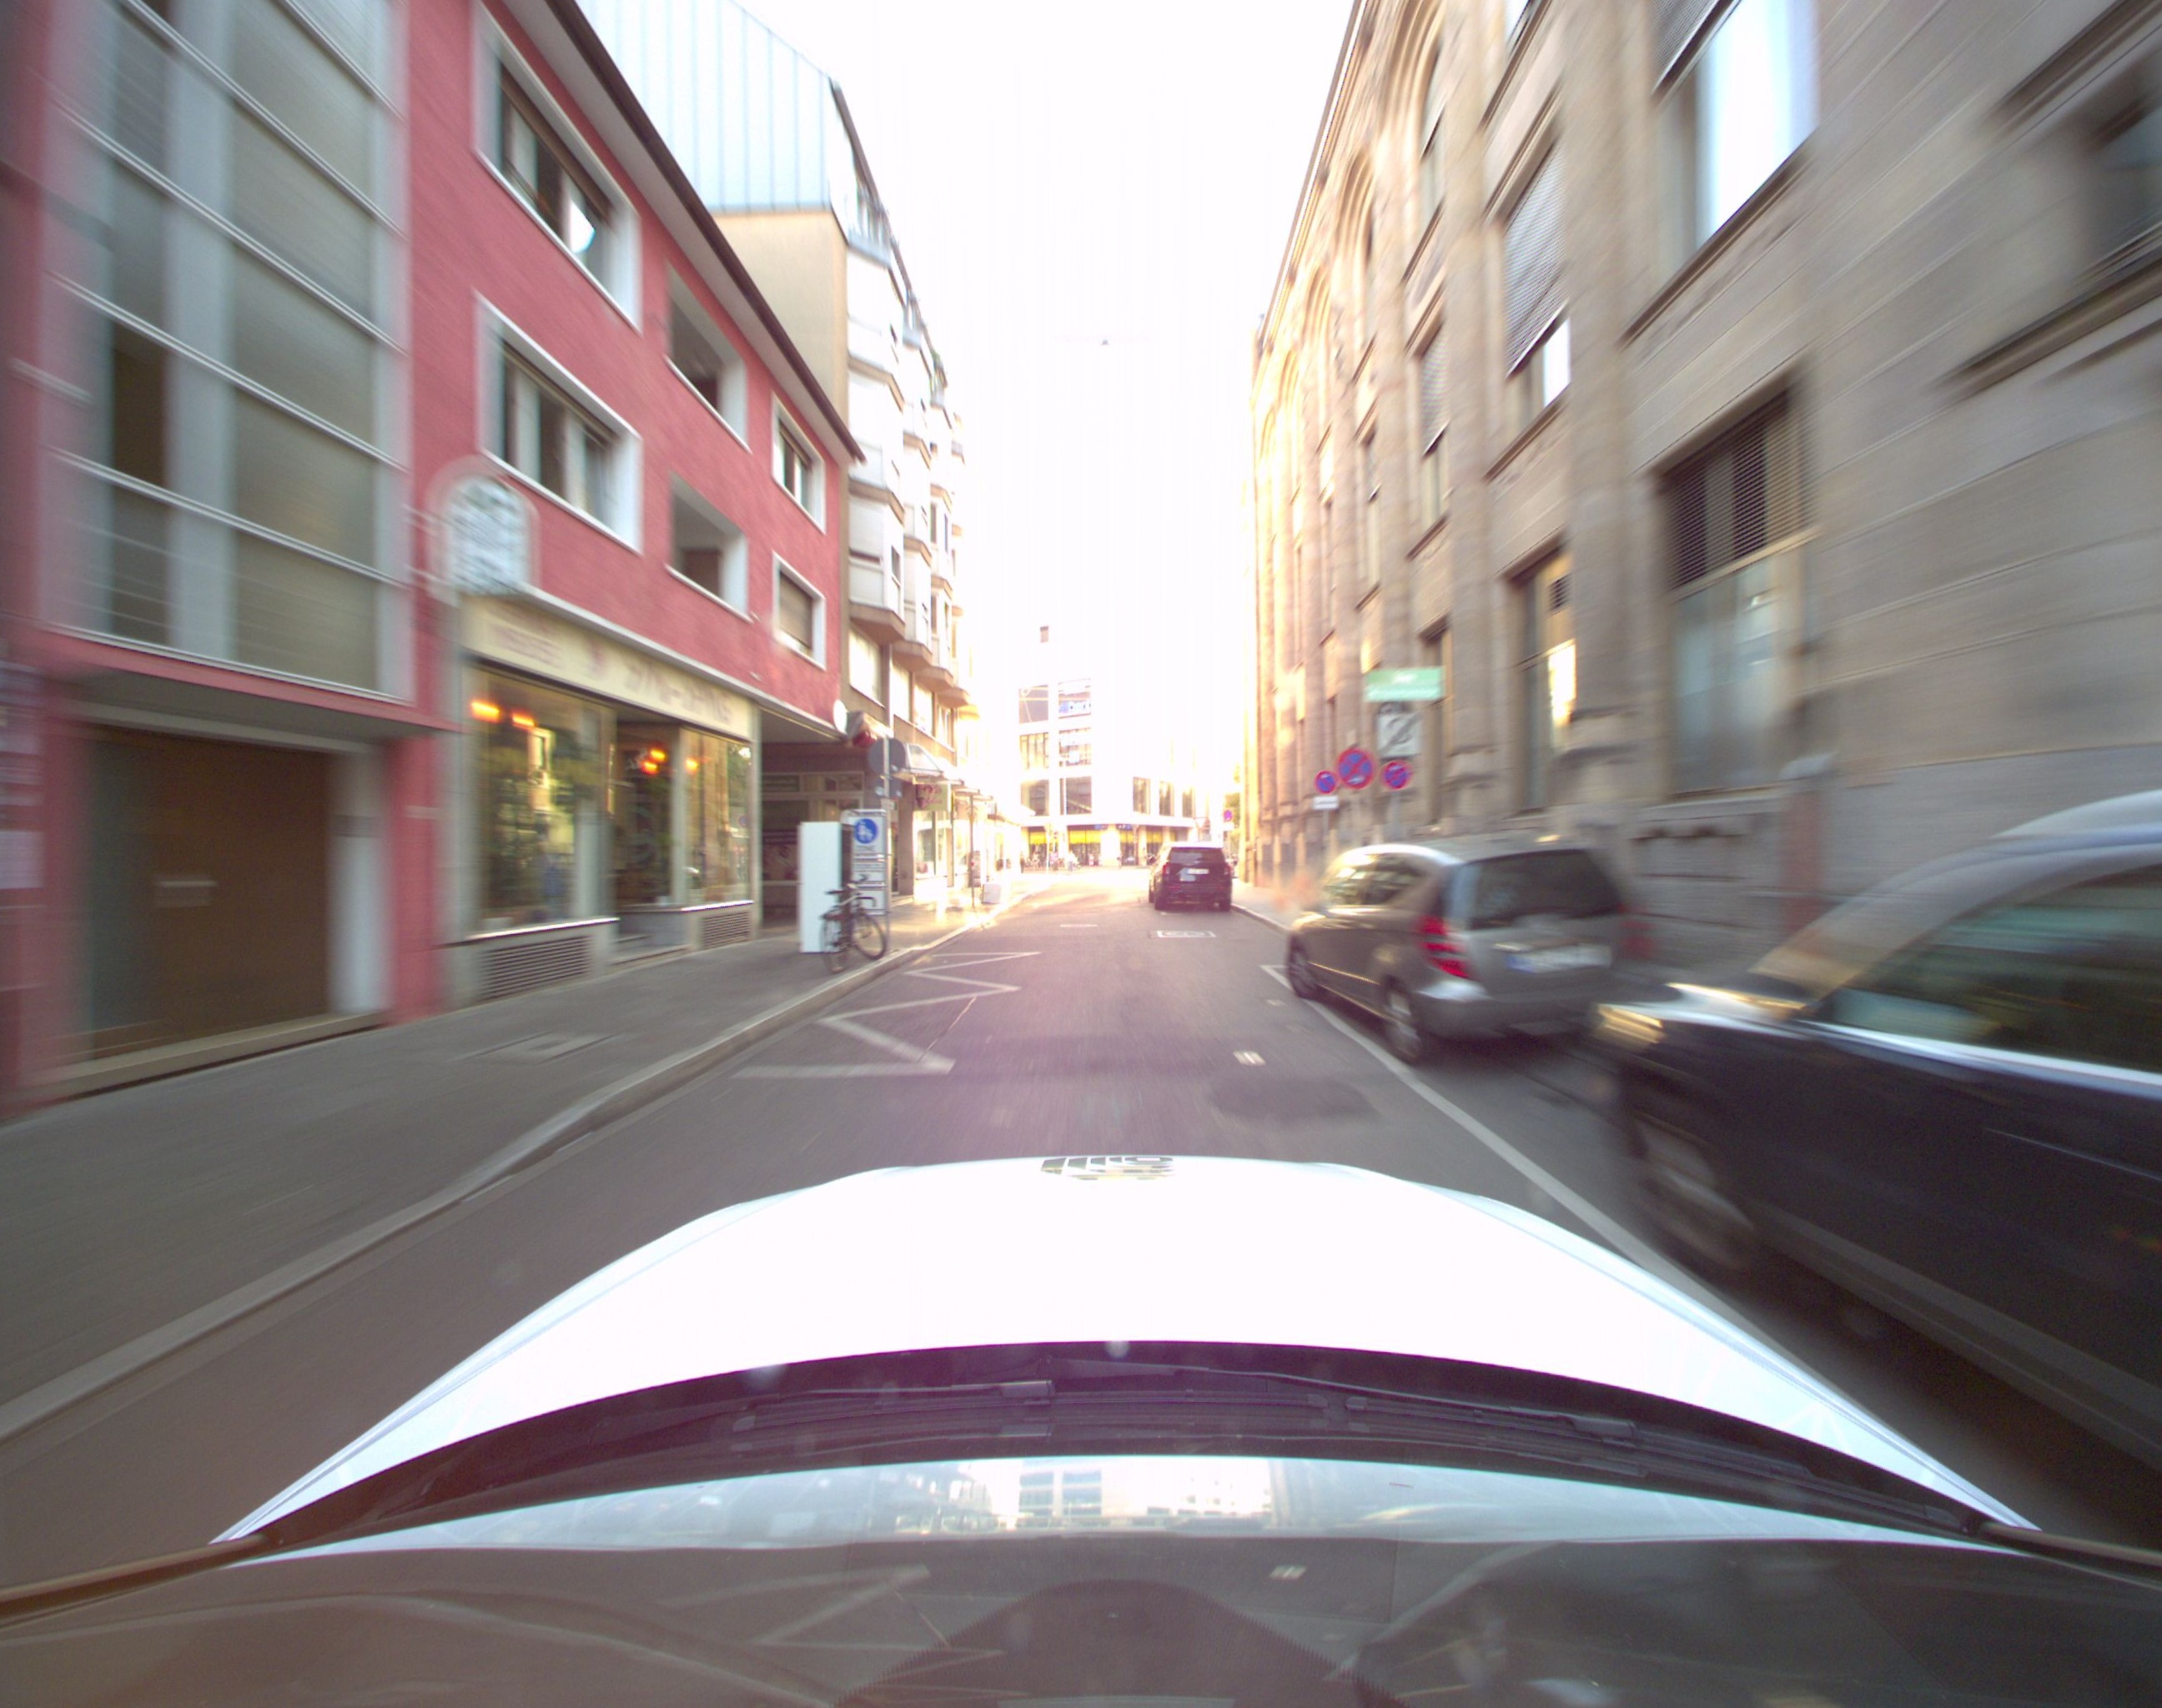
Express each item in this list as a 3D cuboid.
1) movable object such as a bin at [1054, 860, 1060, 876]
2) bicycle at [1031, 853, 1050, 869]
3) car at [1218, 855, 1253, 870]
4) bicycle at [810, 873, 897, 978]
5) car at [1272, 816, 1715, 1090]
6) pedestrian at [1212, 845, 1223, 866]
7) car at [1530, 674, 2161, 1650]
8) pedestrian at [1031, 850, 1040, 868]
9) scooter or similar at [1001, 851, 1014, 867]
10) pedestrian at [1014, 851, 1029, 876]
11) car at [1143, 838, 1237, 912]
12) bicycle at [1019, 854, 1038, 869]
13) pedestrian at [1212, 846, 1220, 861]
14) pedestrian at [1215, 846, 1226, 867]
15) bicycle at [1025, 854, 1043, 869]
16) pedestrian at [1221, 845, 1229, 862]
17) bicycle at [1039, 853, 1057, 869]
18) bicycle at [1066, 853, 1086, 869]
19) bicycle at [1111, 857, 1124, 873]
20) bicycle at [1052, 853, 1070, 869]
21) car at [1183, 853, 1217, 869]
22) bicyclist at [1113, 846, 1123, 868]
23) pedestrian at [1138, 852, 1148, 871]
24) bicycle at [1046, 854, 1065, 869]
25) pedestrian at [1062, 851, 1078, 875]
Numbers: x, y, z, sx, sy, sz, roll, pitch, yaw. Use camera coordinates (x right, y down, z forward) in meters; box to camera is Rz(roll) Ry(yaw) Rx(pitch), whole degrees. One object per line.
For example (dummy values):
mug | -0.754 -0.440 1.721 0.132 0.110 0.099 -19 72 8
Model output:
movable object such as a bin | -1.576 0.919 53.287 0.359 1.063 0.355 -1 -1 -9
bicycle | -3.380 0.591 67.962 0.507 1.255 1.991 -1 -1 30
car | 16.689 0.880 87.636 1.865 1.598 4.719 -1 0 35
bicycle | -2.884 0.864 10.491 0.541 1.192 1.843 0 0 2
car | 3.034 0.615 7.053 1.768 1.666 3.998 -1 0 -1
pedestrian | 10.935 0.085 65.235 0.697 1.670 0.645 -1 1 19
car | 2.847 0.573 1.712 1.663 1.806 4.243 0 0 3
pedestrian | -4.219 0.462 75.164 0.638 1.723 0.839 0 -1 -22
scooter or similar | -6.032 0.418 66.807 0.383 1.260 1.279 -1 -1 31
pedestrian | -4.061 0.647 55.786 0.871 1.658 0.615 0 -1 -18
car | 2.857 0.514 22.420 1.986 1.783 4.935 -1 0 1
bicycle | -4.407 0.600 68.592 0.507 1.255 1.991 -1 -1 32
pedestrian | 15.029 -0.085 90.389 0.665 1.675 0.651 -1 0 31
pedestrian | 11.024 0.175 64.253 0.697 1.670 0.645 -1 1 19
bicycle | -3.945 0.608 68.265 0.507 1.255 1.991 -1 -1 32
pedestrian | 15.860 -0.066 89.833 0.665 1.836 0.651 -1 0 31
bicycle | -2.736 0.580 67.525 0.507 1.255 1.991 -1 -1 32
bicycle | -0.368 0.545 66.123 0.657 1.255 2.154 -1 -1 29
bicycle | 2.927 0.905 65.228 0.610 1.255 1.972 0 -1 -9
bicycle | -1.616 0.578 66.745 0.507 1.255 1.991 -1 -1 29
car | 11.721 0.681 80.208 1.760 1.453 4.257 -1 0 32
bicyclist | 2.934 0.226 65.189 0.682 1.695 0.642 0 0 -9
pedestrian | 5.744 0.651 75.095 0.665 1.744 0.651 -1 -1 33
bicycle | -2.117 0.600 67.030 0.507 1.255 1.991 -1 -1 33
pedestrian | -0.734 0.615 54.469 0.807 1.613 0.728 0 -1 -27
